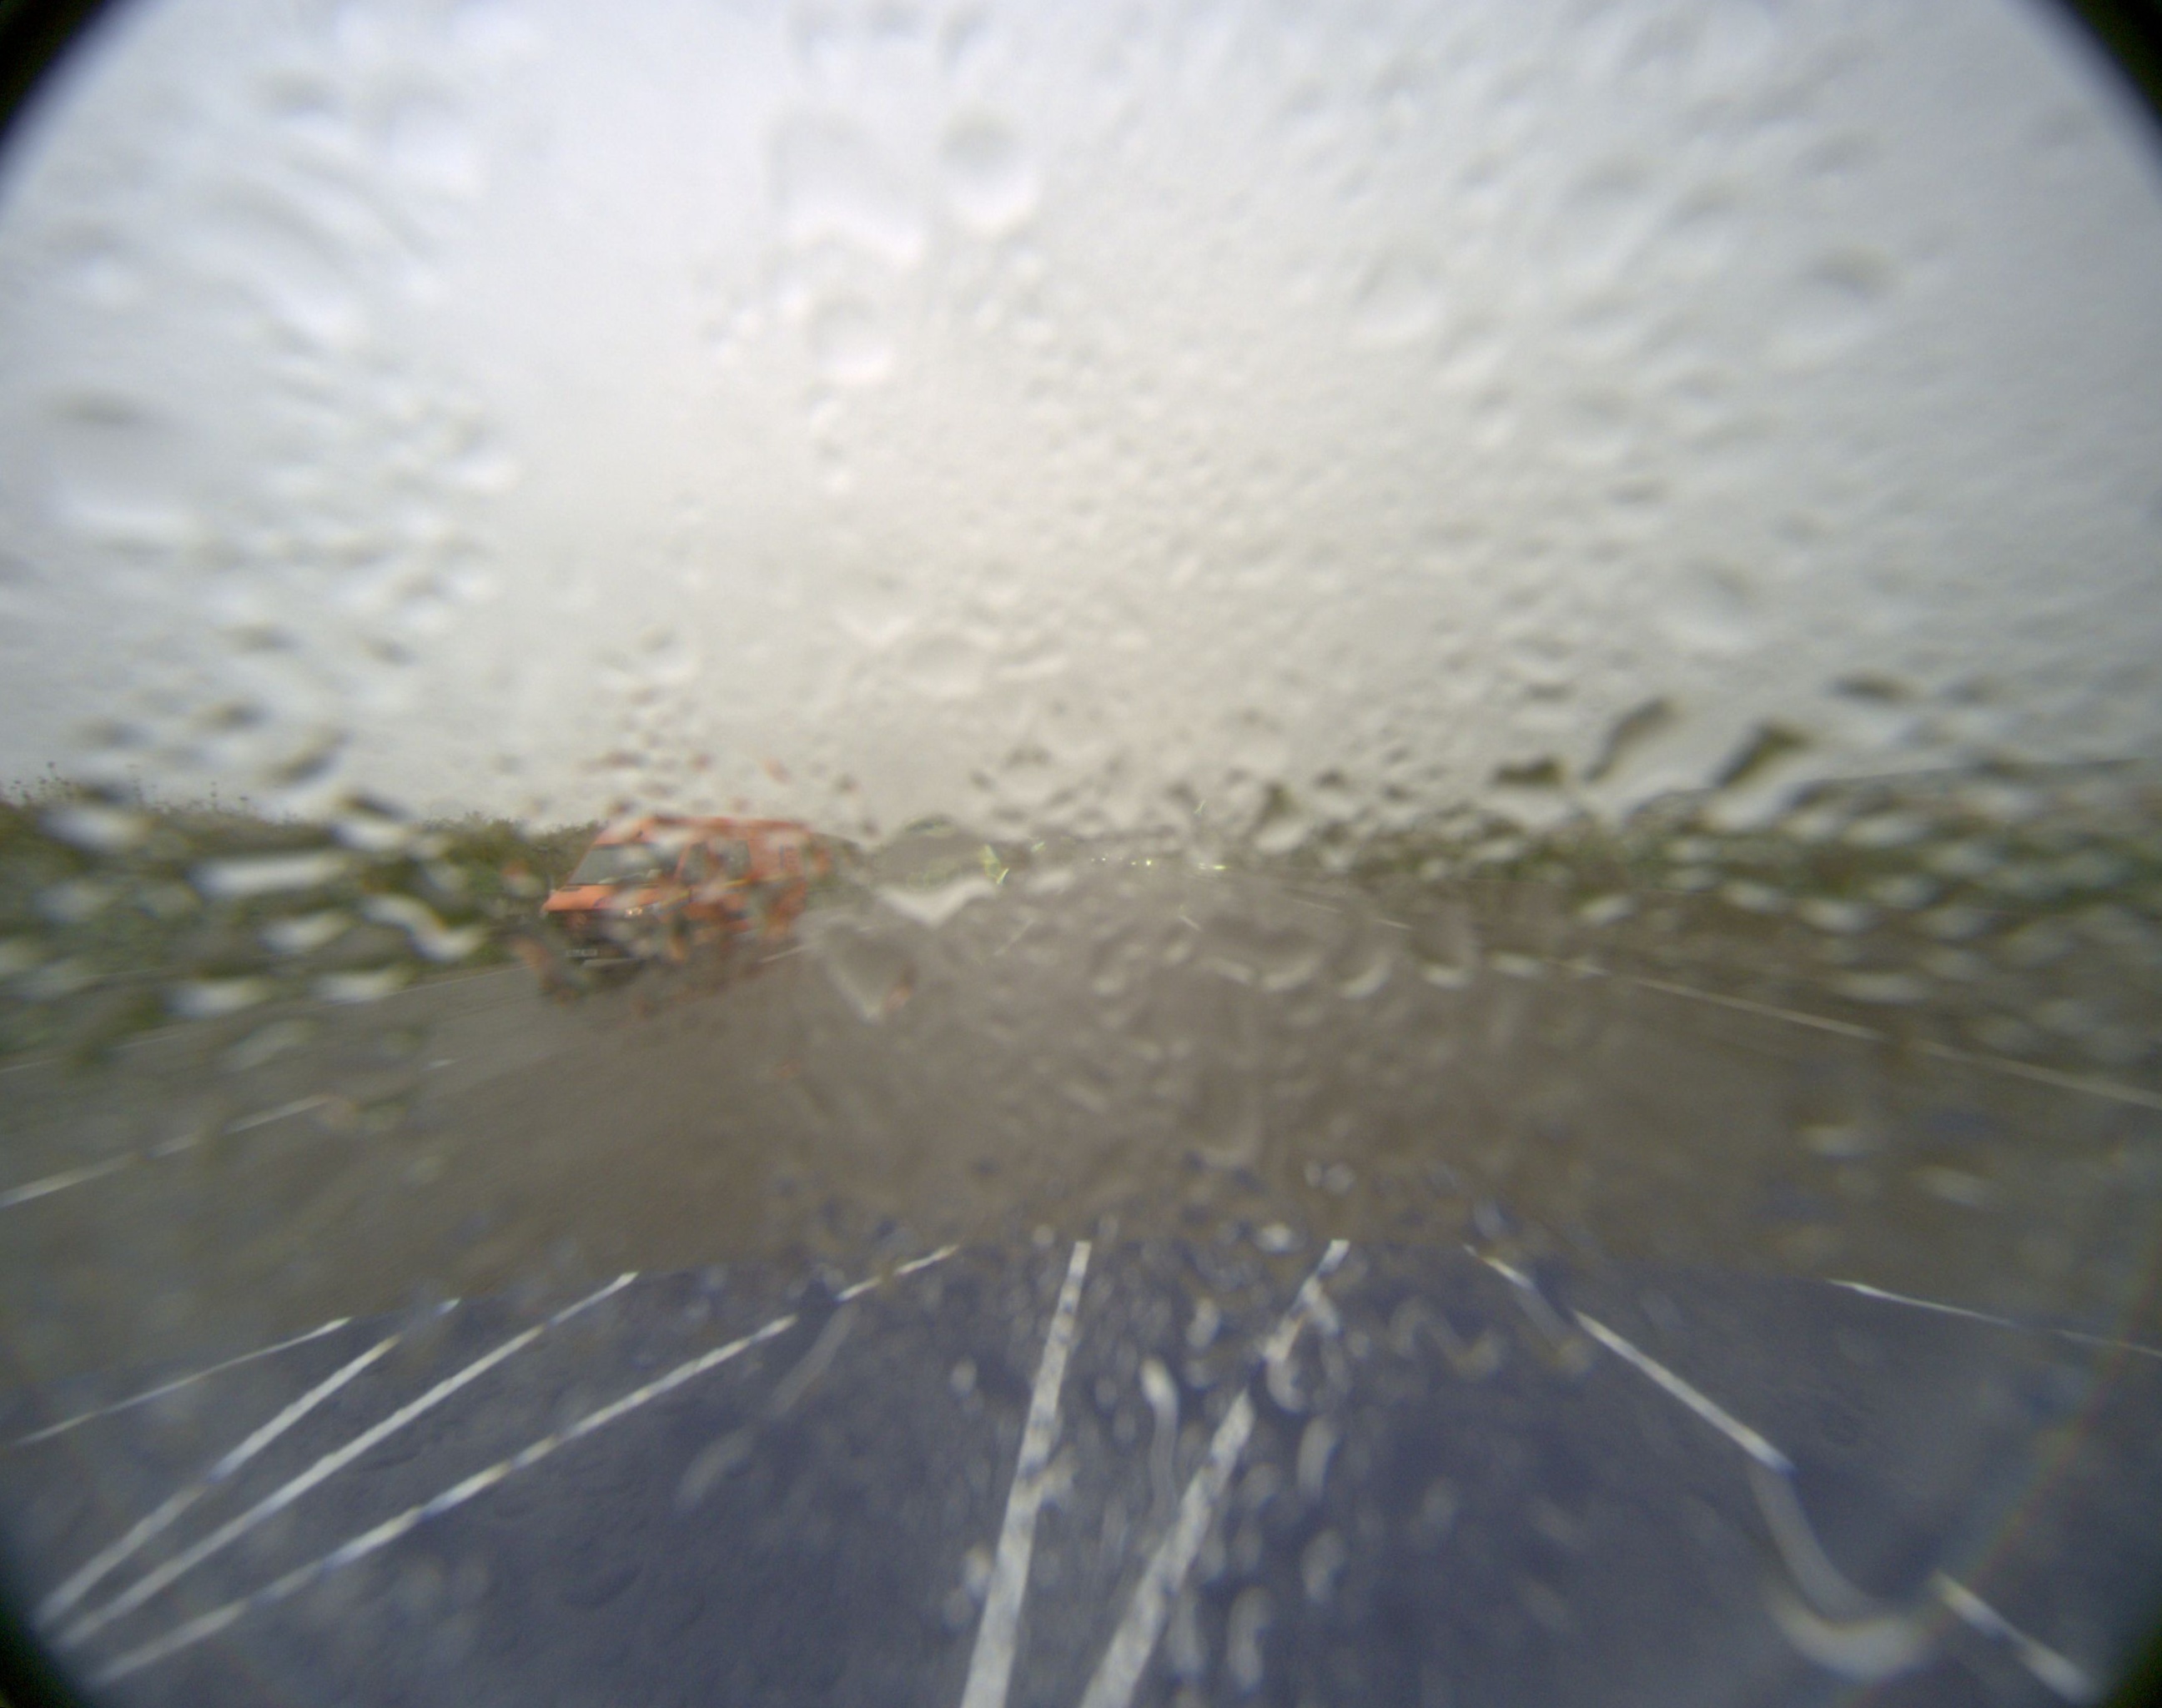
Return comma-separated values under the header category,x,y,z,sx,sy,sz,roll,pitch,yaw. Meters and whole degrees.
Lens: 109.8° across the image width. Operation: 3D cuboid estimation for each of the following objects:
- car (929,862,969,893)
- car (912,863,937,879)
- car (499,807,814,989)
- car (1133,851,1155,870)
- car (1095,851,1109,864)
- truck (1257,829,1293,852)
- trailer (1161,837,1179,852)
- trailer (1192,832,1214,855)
category,x,y,z,sx,sy,sz,roll,pitch,yaw
car,-7.230,1.257,42.096,1.914,1.477,4.474,-2,0,-7
car,-14.747,1.563,71.657,1.820,1.281,3.997,-3,1,-6
car,-7.550,0.636,14.809,2.066,2.600,6.885,-3,0,0
car,5.578,0.547,67.916,1.701,1.543,3.733,-2,1,1
car,2.866,0.455,102.012,1.701,1.543,3.732,-2,1,0
truck,26.426,-1.799,104.058,2.826,2.892,8.280,-2,1,1
trailer,20.806,-2.176,178.534,3.265,3.436,9.443,-2,0,2
trailer,22.304,-1.846,139.278,2.441,3.916,13.494,-2,0,3
